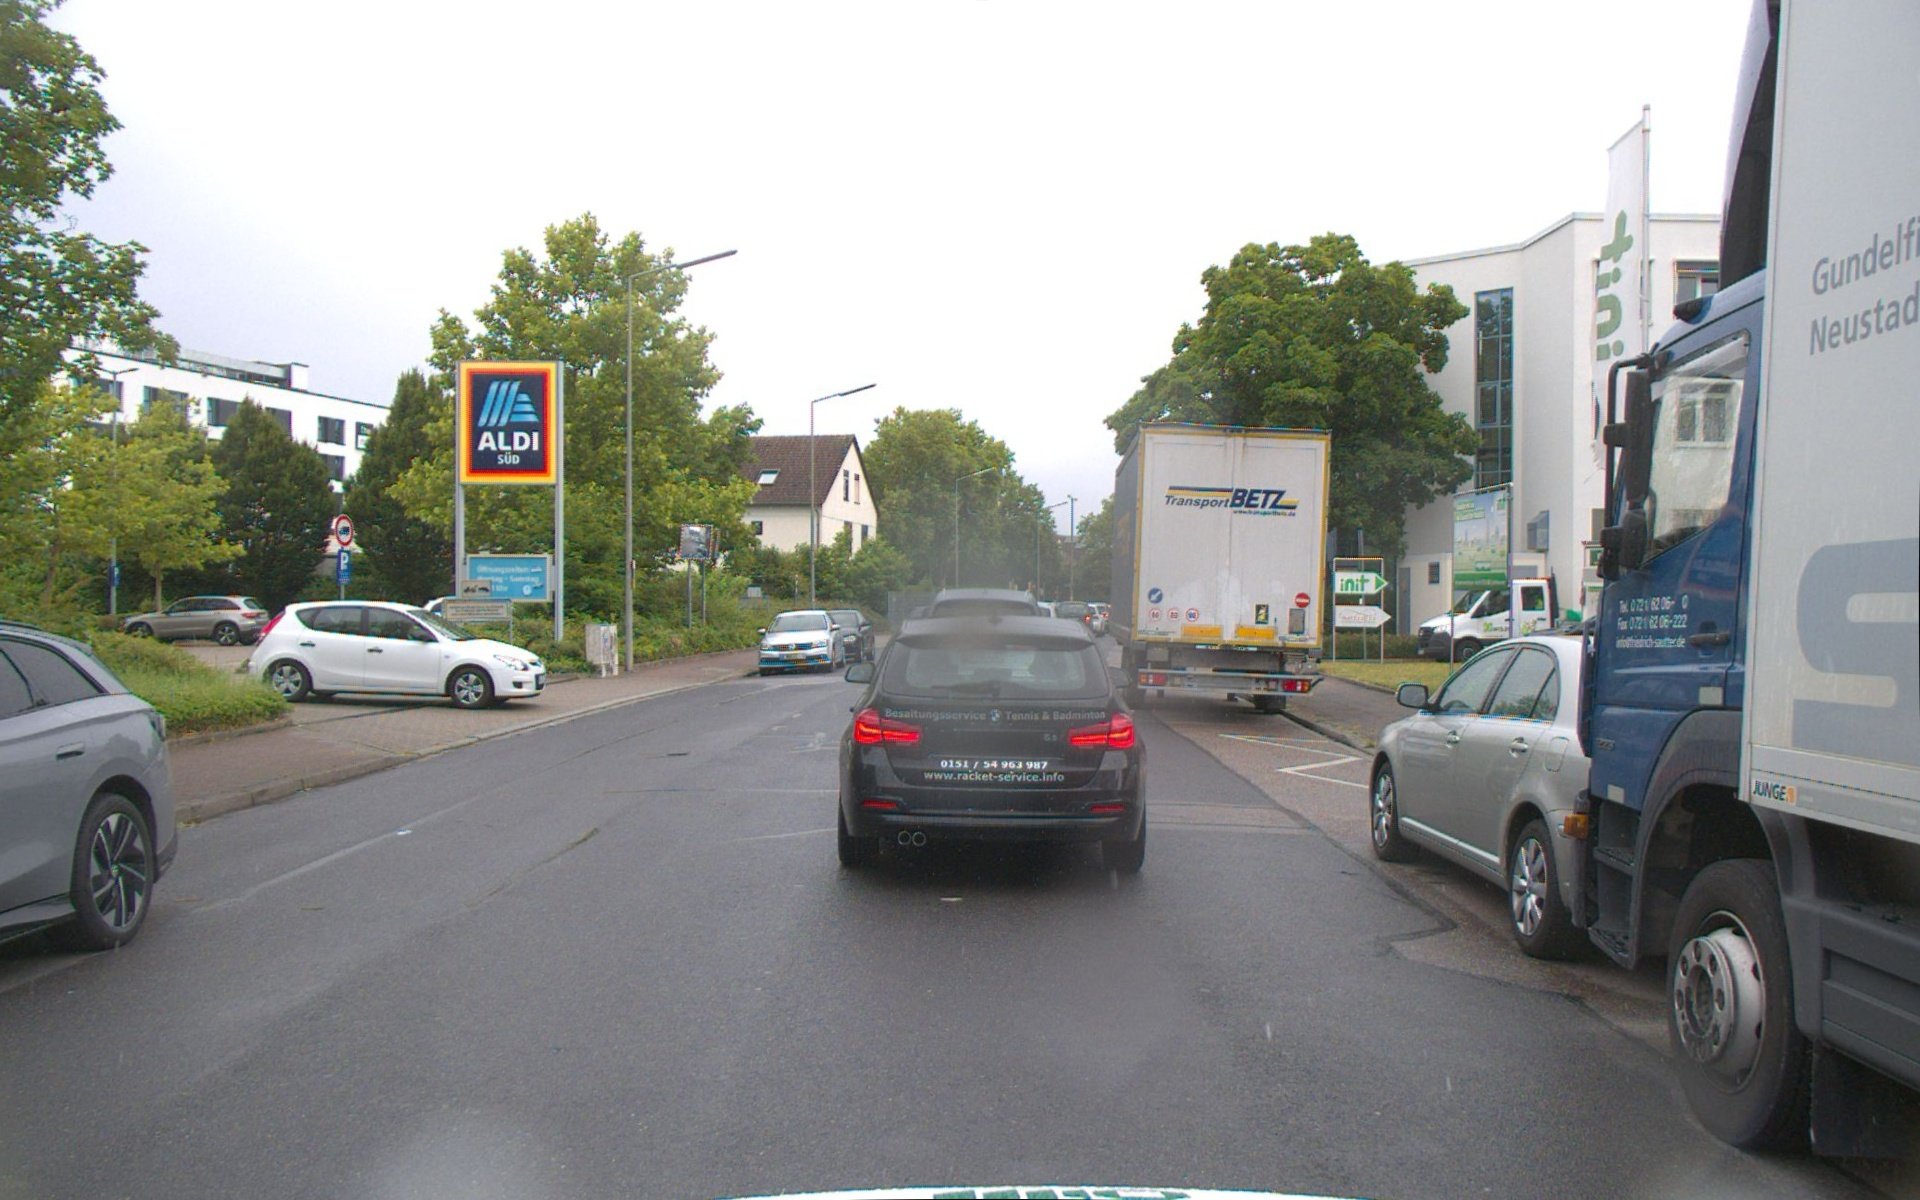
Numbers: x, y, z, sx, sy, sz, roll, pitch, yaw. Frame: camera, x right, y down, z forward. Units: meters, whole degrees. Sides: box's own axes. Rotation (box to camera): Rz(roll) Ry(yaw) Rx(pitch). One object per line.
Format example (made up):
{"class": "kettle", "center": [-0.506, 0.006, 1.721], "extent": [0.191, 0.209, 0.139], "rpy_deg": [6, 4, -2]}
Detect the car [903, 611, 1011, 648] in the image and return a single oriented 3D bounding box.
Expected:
{"class": "car", "center": [-0.102, 1.132, 63.684], "extent": [4.101, 1.386, 1.589], "rpy_deg": [0, 0, 0]}

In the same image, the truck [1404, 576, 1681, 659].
{"class": "truck", "center": [15.658, 0.459, 44.742], "extent": [6.781, 2.177, 2.094], "rpy_deg": [0, 0, 1]}

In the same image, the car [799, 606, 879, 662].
{"class": "car", "center": [-3.269, 0.908, 45.320], "extent": [1.670, 1.391, 3.839], "rpy_deg": [-2, 0, 3]}

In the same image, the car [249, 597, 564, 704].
{"class": "car", "center": [-8.140, 0.736, 24.615], "extent": [4.107, 1.485, 1.711], "rpy_deg": [1, 0, -4]}

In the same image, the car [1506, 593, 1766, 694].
{"class": "car", "center": [11.432, 0.689, 28.082], "extent": [3.711, 1.421, 1.718], "rpy_deg": [4, 2, 40]}

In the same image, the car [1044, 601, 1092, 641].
{"class": "car", "center": [4.610, 0.870, 69.932], "extent": [1.766, 1.614, 4.003], "rpy_deg": [1, -1, 7]}

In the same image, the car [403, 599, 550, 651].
{"class": "car", "center": [-14.779, 0.749, 50.695], "extent": [3.905, 1.567, 1.911], "rpy_deg": [0, 0, 0]}

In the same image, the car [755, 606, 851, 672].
{"class": "car", "center": [-3.663, 0.886, 39.271], "extent": [1.670, 1.391, 4.602], "rpy_deg": [-2, 0, 1]}

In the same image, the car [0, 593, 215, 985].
{"class": "car", "center": [-4.716, 0.804, 6.126], "extent": [1.772, 1.555, 4.746], "rpy_deg": [-4, 0, -1]}

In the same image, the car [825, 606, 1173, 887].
{"class": "car", "center": [0.124, 0.773, 10.478], "extent": [1.768, 1.419, 3.998], "rpy_deg": [1, -1, -2]}

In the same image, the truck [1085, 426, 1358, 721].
{"class": "truck", "center": [3.660, -0.331, 25.139], "extent": [2.685, 3.674, 7.748], "rpy_deg": [2, 0, -1]}

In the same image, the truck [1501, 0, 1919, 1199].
{"class": "truck", "center": [3.515, -0.401, 1.730], "extent": [2.685, 3.855, 9.298], "rpy_deg": [3, 0, 0]}

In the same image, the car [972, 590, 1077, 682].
{"class": "car", "center": [1.288, 0.662, 31.505], "extent": [1.766, 1.614, 4.002], "rpy_deg": [1, -1, 5]}

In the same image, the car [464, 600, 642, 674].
{"class": "car", "center": [-9.037, 0.806, 36.902], "extent": [3.496, 1.485, 1.712], "rpy_deg": [2, 0, 1]}

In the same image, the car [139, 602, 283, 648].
{"class": "car", "center": [-24.954, 0.822, 55.203], "extent": [3.904, 1.526, 2.000], "rpy_deg": [0, 0, 1]}

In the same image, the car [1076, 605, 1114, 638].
{"class": "car", "center": [6.920, 1.106, 84.622], "extent": [1.766, 1.614, 4.003], "rpy_deg": [1, -1, 7]}

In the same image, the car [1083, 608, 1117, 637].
{"class": "car", "center": [8.083, 1.270, 95.422], "extent": [1.766, 1.614, 4.003], "rpy_deg": [1, -1, 7]}

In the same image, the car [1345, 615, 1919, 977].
{"class": "car", "center": [3.522, 0.830, 9.044], "extent": [1.761, 1.466, 4.344], "rpy_deg": [0, 0, -1]}

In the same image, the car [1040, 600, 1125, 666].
{"class": "car", "center": [3.358, 0.899, 45.936], "extent": [1.953, 1.713, 3.999], "rpy_deg": [1, -1, -1]}

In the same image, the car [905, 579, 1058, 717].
{"class": "car", "center": [0.187, 0.589, 21.597], "extent": [1.768, 1.614, 3.998], "rpy_deg": [1, -1, -2]}

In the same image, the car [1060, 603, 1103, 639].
{"class": "car", "center": [5.652, 0.975, 76.446], "extent": [1.766, 1.614, 4.003], "rpy_deg": [1, -1, 7]}
